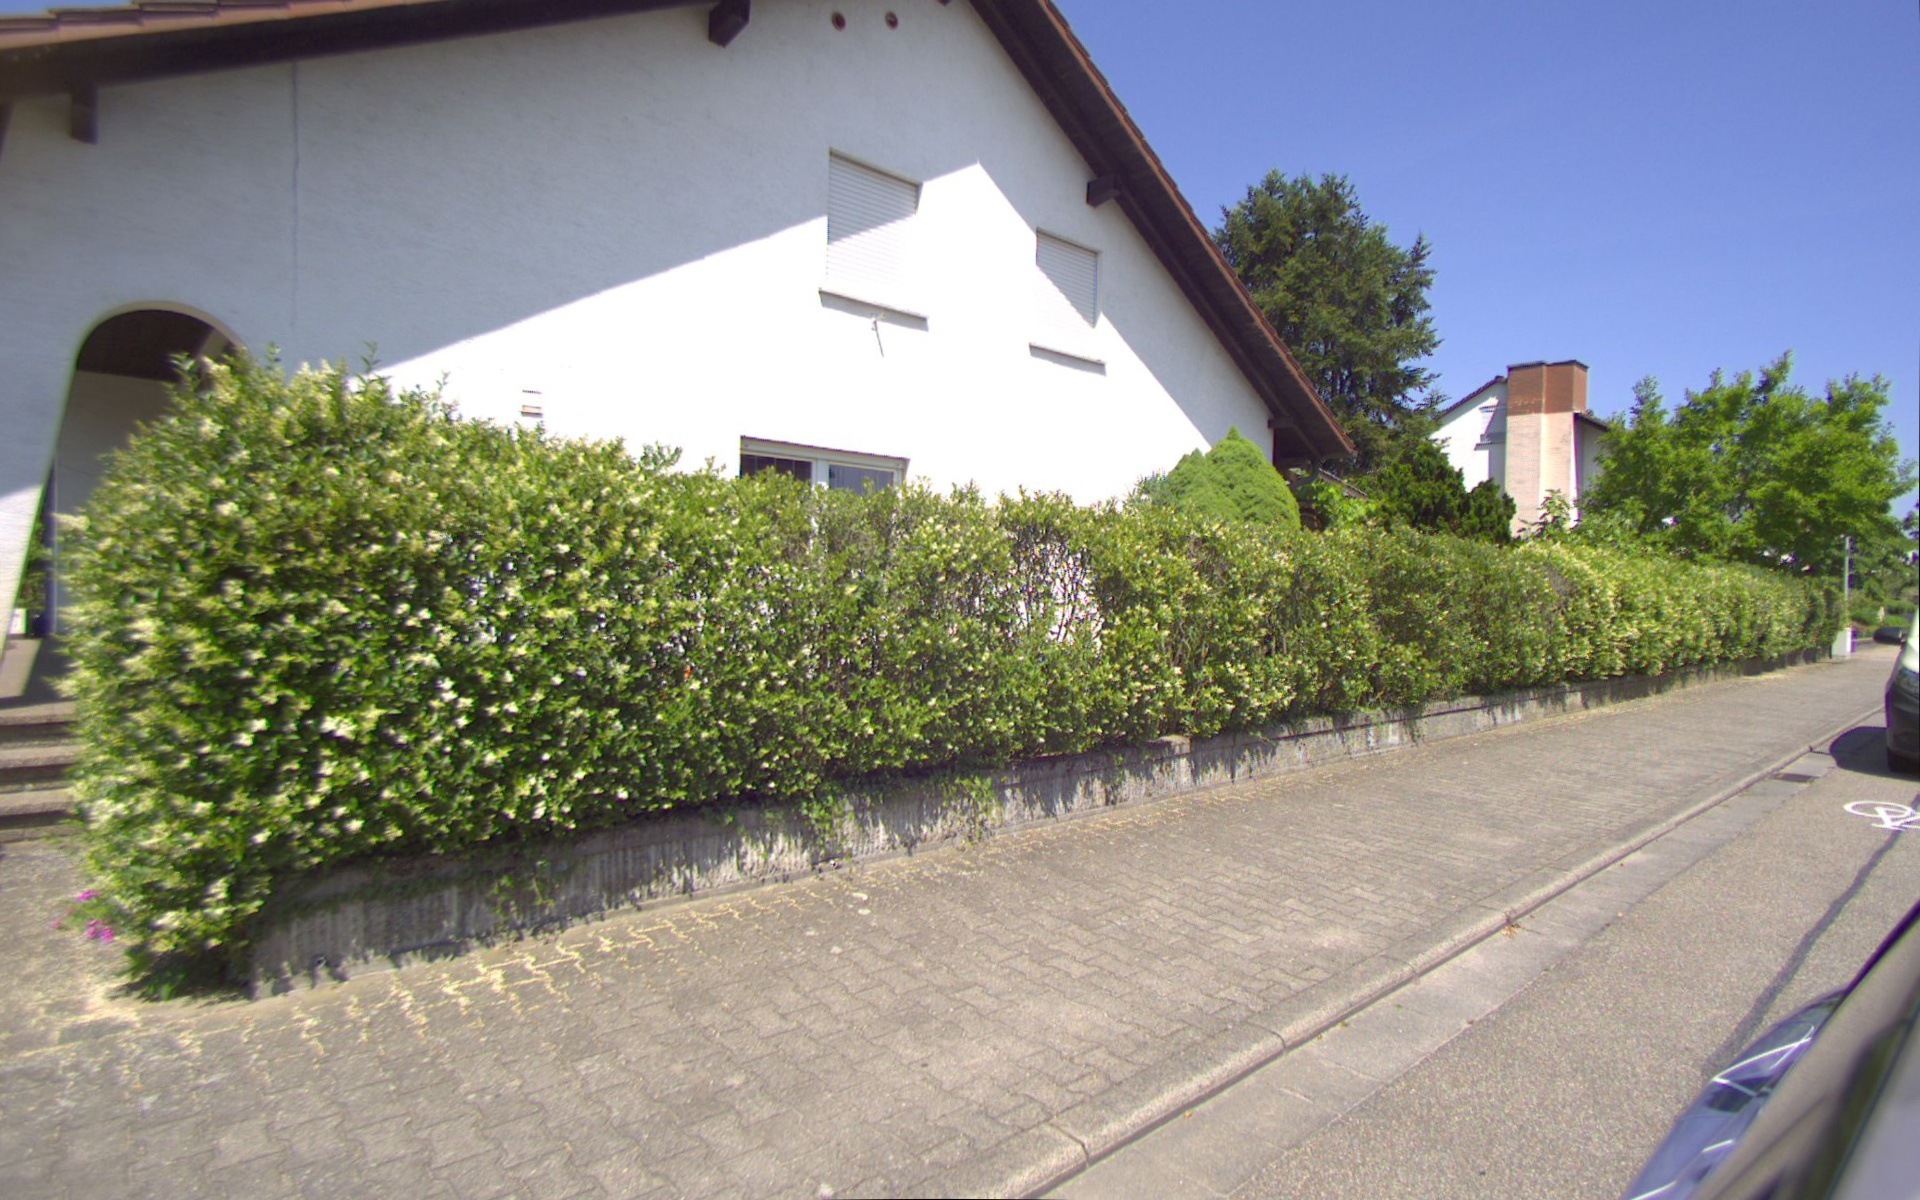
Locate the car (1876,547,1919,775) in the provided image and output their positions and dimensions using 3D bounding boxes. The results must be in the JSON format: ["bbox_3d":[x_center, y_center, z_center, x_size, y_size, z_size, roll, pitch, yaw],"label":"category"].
[{"bbox_3d":[10.298,0.516,9.431,4.980,1.879,2.017,0,2,-41],"label":"car"}]
